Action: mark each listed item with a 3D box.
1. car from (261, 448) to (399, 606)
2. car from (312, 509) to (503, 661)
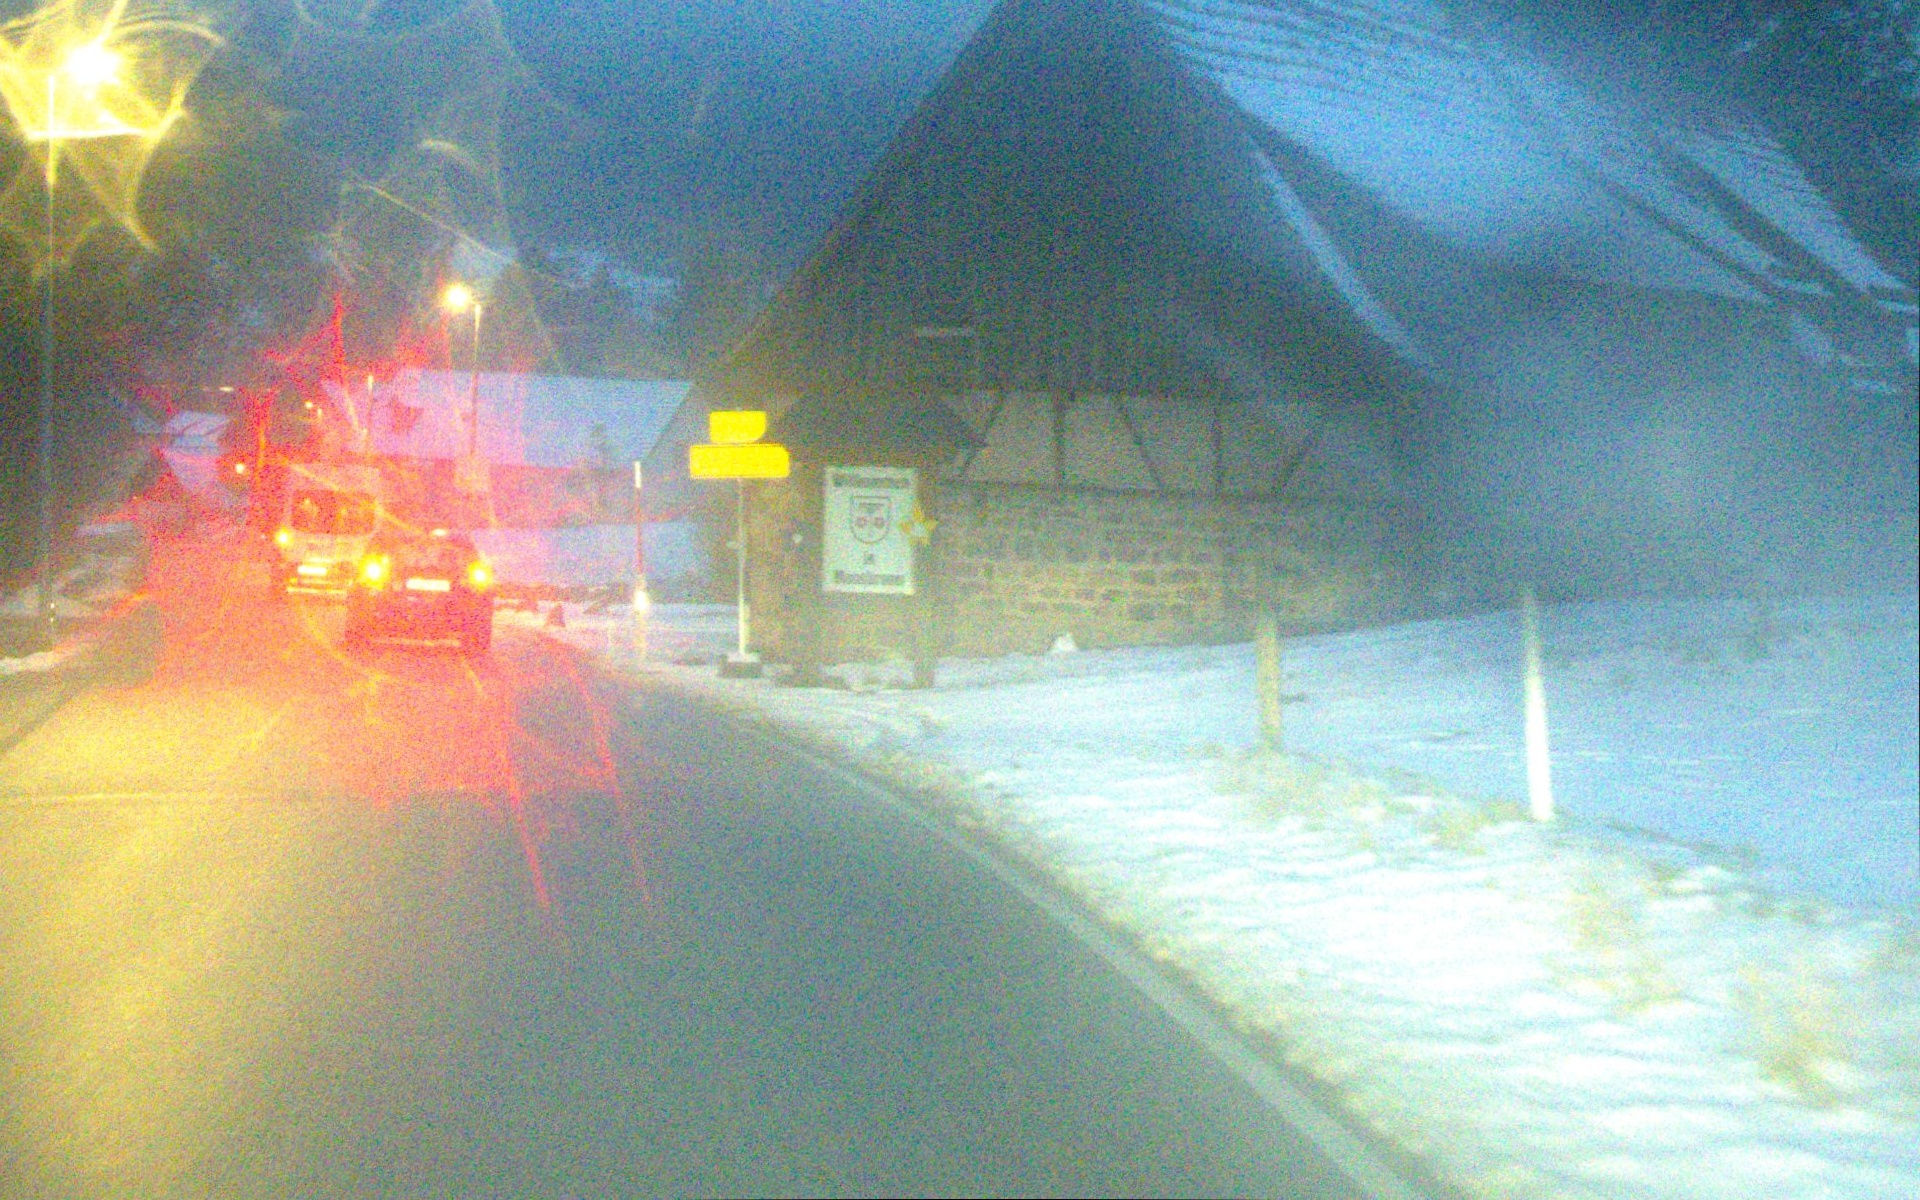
[{"bbox_3d":[-12.472,-1.388,68.365,2.434,3.008,5.326,0,0,-8],"label":"car"},{"bbox_3d":[-7.155,-0.246,44.145,2.273,1.834,5.008,0,2,-11],"label":"car"}]
